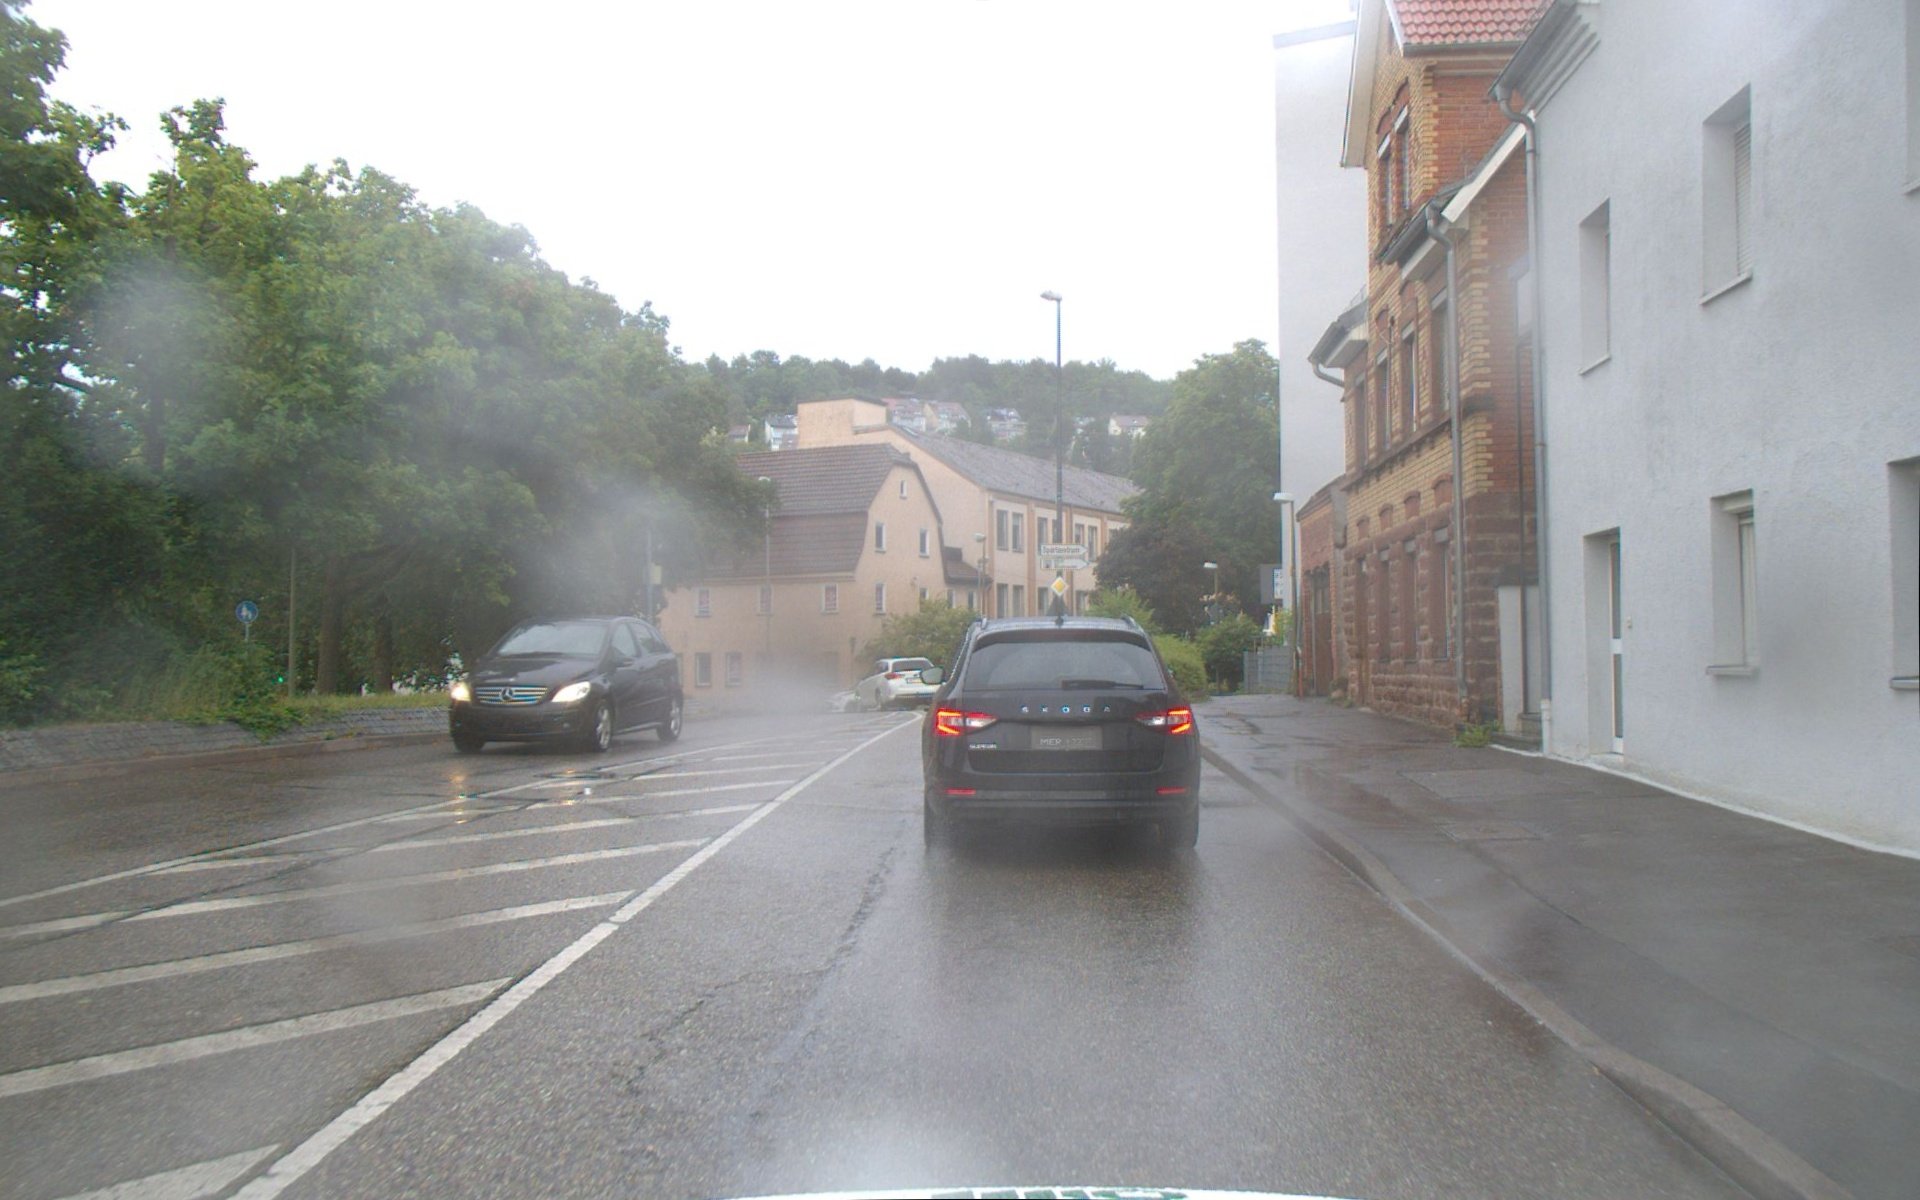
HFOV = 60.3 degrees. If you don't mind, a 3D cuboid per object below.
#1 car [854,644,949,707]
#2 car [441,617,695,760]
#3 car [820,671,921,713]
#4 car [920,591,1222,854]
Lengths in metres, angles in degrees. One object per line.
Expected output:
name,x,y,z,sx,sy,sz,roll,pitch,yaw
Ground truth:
car,-1.689,2.167,46.503,1.700,1.619,4.165,2,-4,-16
car,-4.609,0.983,20.058,1.605,1.547,4.074,0,-1,8
car,-3.647,3.747,67.393,3.702,1.478,1.699,-2,-3,-24
car,0.660,0.770,11.845,1.745,1.509,4.245,-1,-1,0
